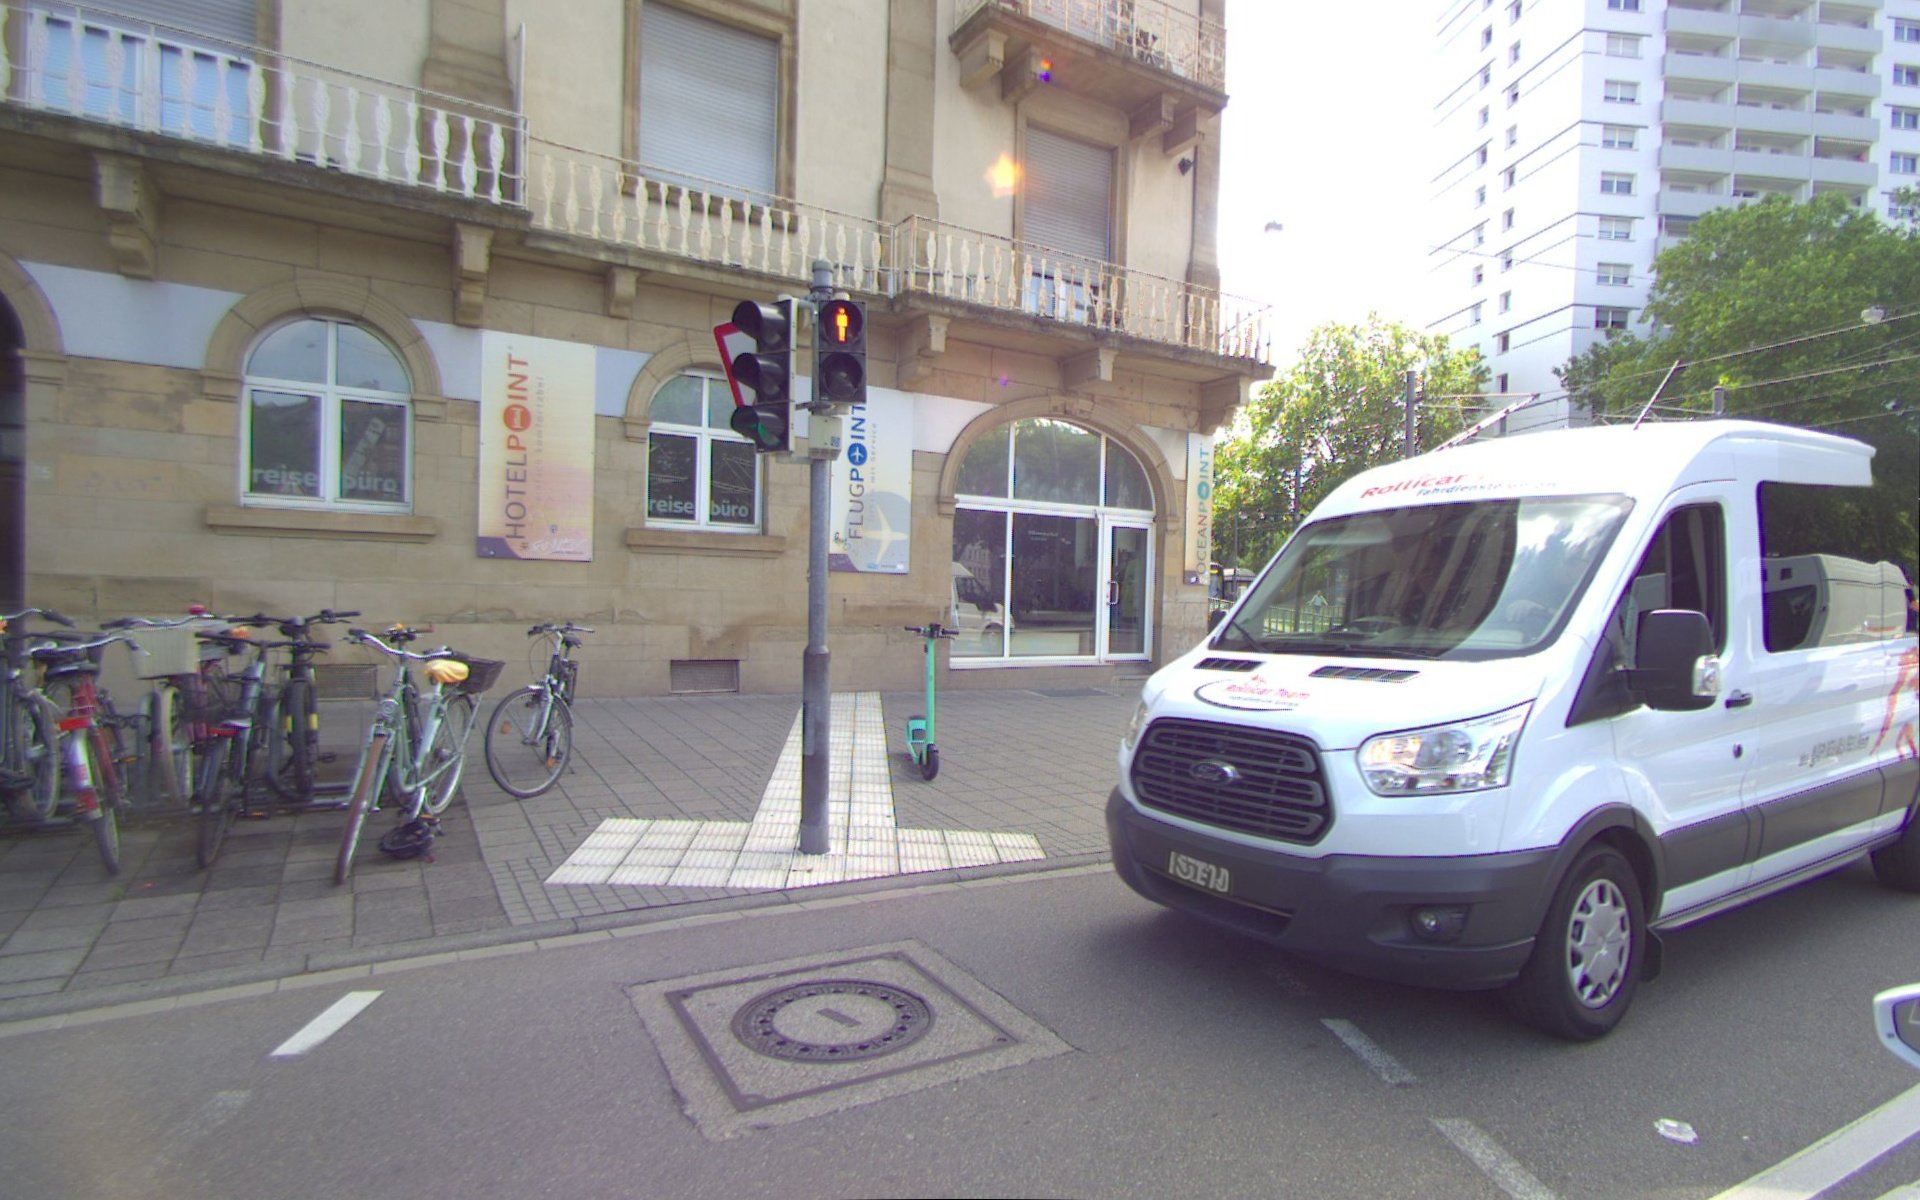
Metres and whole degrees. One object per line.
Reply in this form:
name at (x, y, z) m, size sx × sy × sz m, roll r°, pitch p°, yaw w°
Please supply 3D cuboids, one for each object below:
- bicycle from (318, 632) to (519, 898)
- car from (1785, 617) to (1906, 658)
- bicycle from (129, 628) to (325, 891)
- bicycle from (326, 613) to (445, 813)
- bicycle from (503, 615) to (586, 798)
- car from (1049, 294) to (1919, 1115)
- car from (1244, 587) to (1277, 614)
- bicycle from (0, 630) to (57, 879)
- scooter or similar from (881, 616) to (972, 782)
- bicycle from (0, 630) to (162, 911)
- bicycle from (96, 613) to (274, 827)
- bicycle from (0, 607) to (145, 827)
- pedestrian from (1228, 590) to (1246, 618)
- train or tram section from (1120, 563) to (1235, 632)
bicycle at (-2.826, 0.776, 5.403) m, size 0.522 × 1.066 × 1.731 m, roll 2°, pitch 2°, yaw -14°
car at (37.842, 1.564, 43.005) m, size 3.506 × 1.564 × 1.557 m, roll 2°, pitch 0°, yaw 22°
bicycle at (-3.811, 0.745, 5.331) m, size 0.474 × 1.066 × 1.573 m, roll 1°, pitch 3°, yaw -22°
bicycle at (-3.778, 0.676, 6.693) m, size 0.474 × 1.066 × 1.605 m, roll 1°, pitch 3°, yaw -22°
bicycle at (-2.909, 0.689, 7.096) m, size 0.473 × 1.066 × 1.436 m, roll 1°, pitch 3°, yaw -21°
car at (3.459, 0.294, 5.476) m, size 5.879 × 2.478 × 2.065 m, roll 0°, pitch 2°, yaw -32°
car at (31.887, 0.052, 106.833) m, size 1.779 × 2.812 × 4.274 m, roll 2°, pitch 0°, yaw -6°
bicycle at (-4.636, 0.727, 4.581) m, size 0.457 × 1.066 × 1.472 m, roll 1°, pitch 3°, yaw -30°
scooter or similar at (-0.297, 0.758, 8.142) m, size 0.473 × 1.161 × 1.250 m, roll 2°, pitch 2°, yaw -13°
bicycle at (-4.211, 0.731, 4.842) m, size 0.413 × 1.066 × 1.361 m, roll 1°, pitch 3°, yaw -32°
bicycle at (-4.752, 0.666, 6.254) m, size 0.474 × 1.066 × 1.573 m, roll 1°, pitch 3°, yaw -22°
bicycle at (-5.287, 0.622, 5.956) m, size 0.457 × 1.066 × 1.472 m, roll 1°, pitch 3°, yaw -29°
pedestrian at (18.210, 0.240, 66.085) m, size 0.844 × 1.798 × 0.876 m, roll 2°, pitch 0°, yaw -6°
train or tram section at (12.859, -0.156, 60.942) m, size 2.764 × 3.632 × 13.002 m, roll 2°, pitch 0°, yaw -6°
